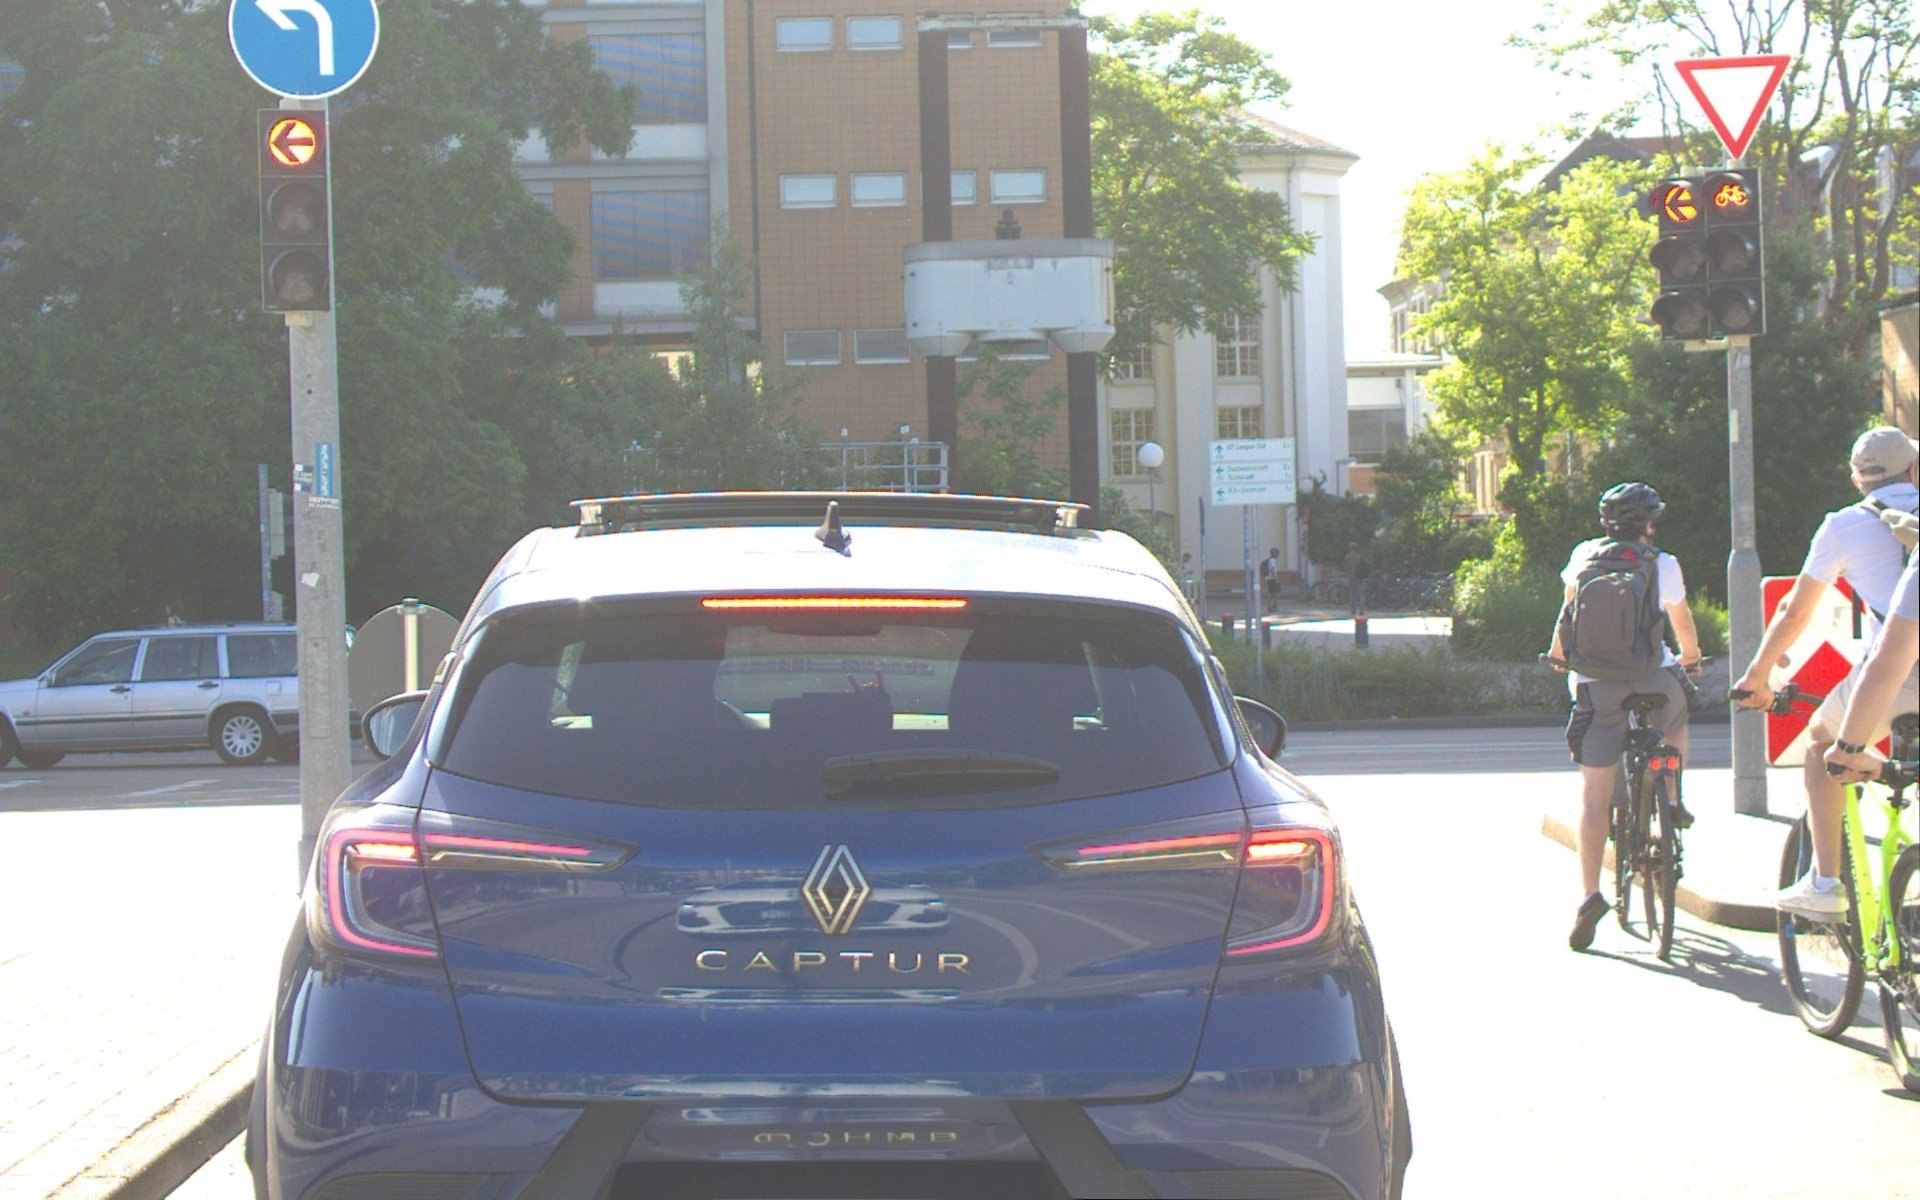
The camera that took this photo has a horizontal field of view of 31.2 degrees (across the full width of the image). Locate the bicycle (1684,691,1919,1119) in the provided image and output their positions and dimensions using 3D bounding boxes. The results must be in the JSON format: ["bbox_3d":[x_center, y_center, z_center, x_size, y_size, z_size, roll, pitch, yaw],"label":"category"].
[{"bbox_3d":[2.654,0.826,9.922,0.671,1.047,1.844,1,1,-2],"label":"bicycle"}]

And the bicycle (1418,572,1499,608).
[{"bbox_3d":[12.034,-0.238,83.046,1.770,0.820,0.766,-1,1,-10],"label":"bicycle"}]

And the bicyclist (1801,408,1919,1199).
[{"bbox_3d":[2.268,0.442,7.210,0.740,1.668,0.866,-1,1,-2],"label":"bicyclist"}]

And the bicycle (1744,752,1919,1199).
[{"bbox_3d":[2.283,0.899,7.255,0.747,1.047,1.903,-1,1,-2],"label":"bicycle"}]

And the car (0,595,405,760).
[{"bbox_3d":[-8.466,0.802,36.043,4.865,1.588,1.938,-1,1,7],"label":"car"}]

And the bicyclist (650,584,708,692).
[{"bbox_3d":[-3.727,0.499,45.580,0.637,1.407,0.649,-1,1,5],"label":"bicyclist"}]

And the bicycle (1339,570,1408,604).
[{"bbox_3d":[11.405,-0.352,94.848,1.771,0.895,0.765,-1,1,0],"label":"bicycle"}]

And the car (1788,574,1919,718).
[{"bbox_3d":[10.869,0.472,36.586,3.957,1.486,1.810,-1,-1,13],"label":"car"}]

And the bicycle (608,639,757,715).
[{"bbox_3d":[-3.674,1.015,45.591,1.865,0.955,0.623,-1,1,5],"label":"bicycle"}]

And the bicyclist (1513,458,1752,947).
[{"bbox_3d":[2.529,0.371,13.014,0.676,1.779,0.940,1,0,-2],"label":"bicyclist"}]

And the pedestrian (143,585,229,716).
[{"bbox_3d":[-11.105,0.722,49.347,0.932,1.849,0.807,-1,1,9],"label":"pedestrian"}]

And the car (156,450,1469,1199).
[{"bbox_3d":[-0.253,0.590,6.647,1.794,1.649,3.853,0,1,-2],"label":"car"}]

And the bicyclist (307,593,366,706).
[{"bbox_3d":[-7.953,0.633,43.832,0.647,1.407,0.639,-1,-2,-16],"label":"bicyclist"}]

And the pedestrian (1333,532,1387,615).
[{"bbox_3d":[9.885,-0.659,84.994,1.156,2.007,1.164,-1,1,0],"label":"pedestrian"}]

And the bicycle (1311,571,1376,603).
[{"bbox_3d":[11.067,-0.382,99.212,1.771,0.890,0.765,-1,1,0],"label":"bicycle"}]

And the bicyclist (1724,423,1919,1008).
[{"bbox_3d":[2.667,0.309,9.831,0.674,1.577,1.081,1,1,-1],"label":"bicyclist"}]

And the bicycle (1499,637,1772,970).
[{"bbox_3d":[2.538,0.730,13.091,0.615,1.134,1.826,0,1,-2],"label":"bicycle"}]

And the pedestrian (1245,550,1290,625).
[{"bbox_3d":[8.368,-0.356,93.515,1.151,2.007,0.951,-1,1,6],"label":"pedestrian"}]
